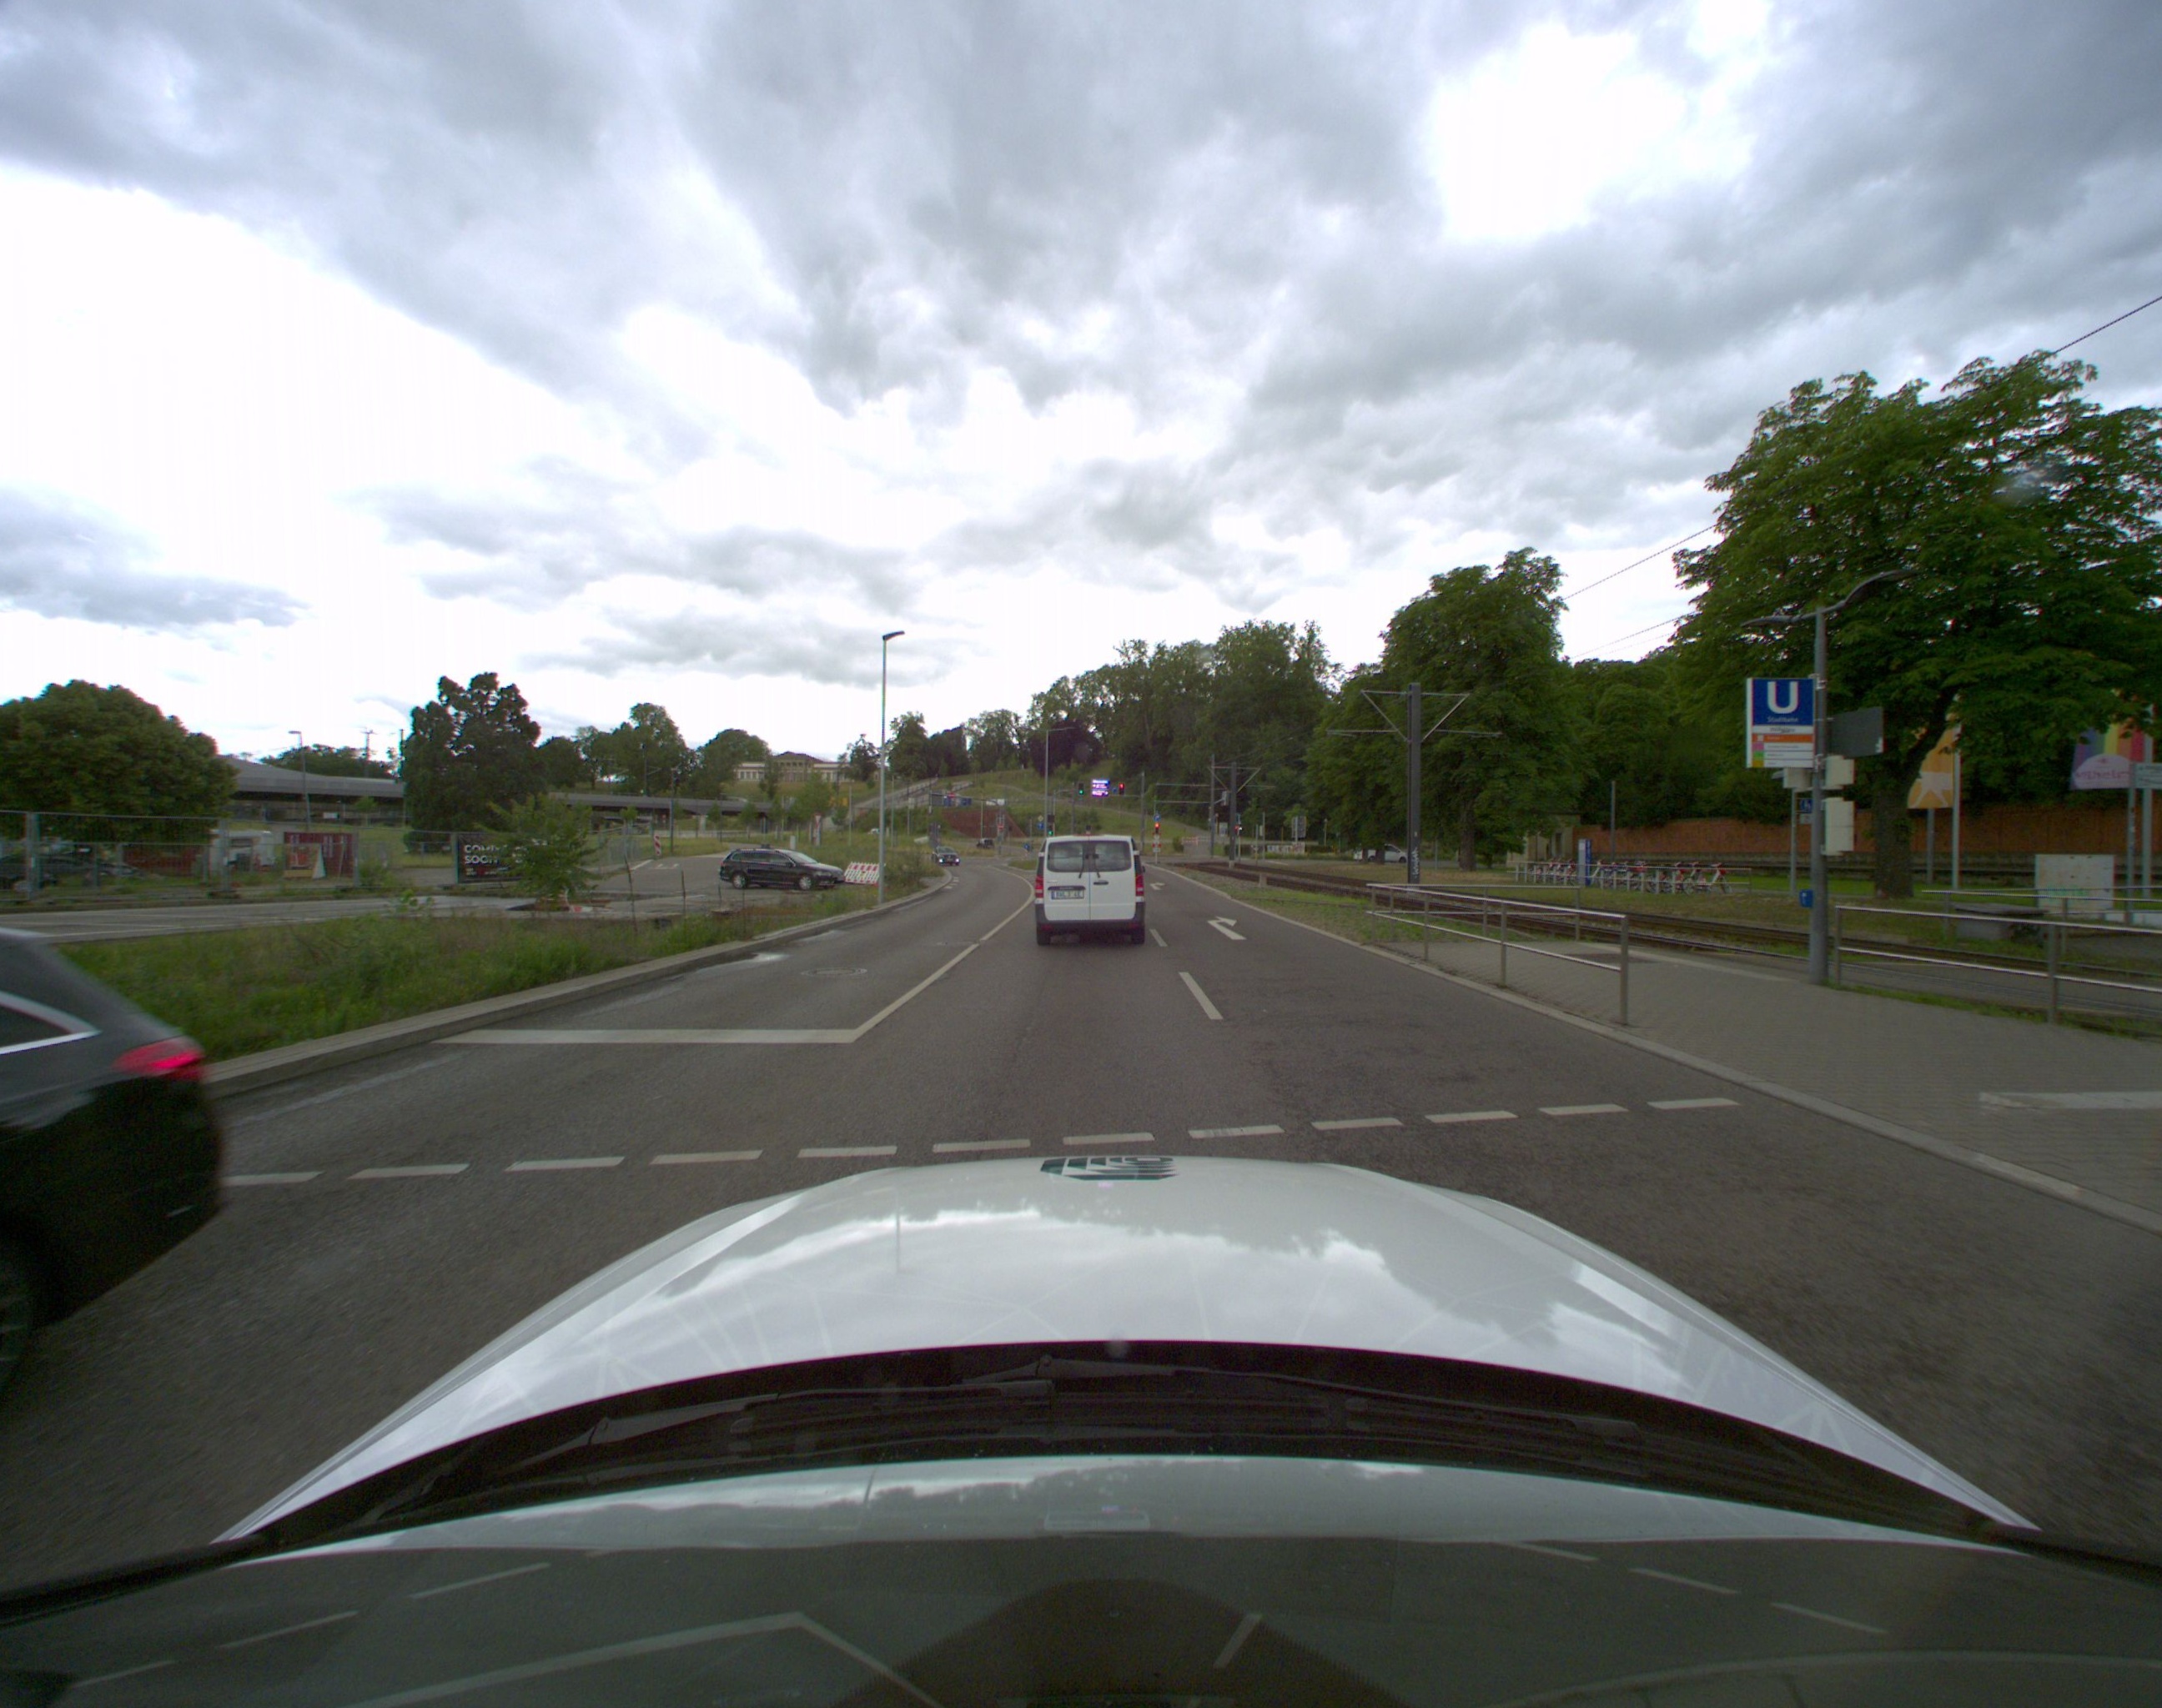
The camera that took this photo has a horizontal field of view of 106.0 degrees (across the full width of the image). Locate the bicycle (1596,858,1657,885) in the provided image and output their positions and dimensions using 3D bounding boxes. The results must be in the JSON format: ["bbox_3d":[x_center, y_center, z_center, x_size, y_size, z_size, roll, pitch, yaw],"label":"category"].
[{"bbox_3d":[20.136,0.649,30.073,1.905,0.975,0.531,0,0,1],"label":"bicycle"}]

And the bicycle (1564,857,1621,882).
[{"bbox_3d":[20.281,0.593,32.309,1.905,0.975,0.531,0,0,1],"label":"bicycle"}]

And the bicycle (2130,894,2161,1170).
[{"bbox_3d":[5.274,0.768,3.673,1.692,1.074,0.613,0,2,-39],"label":"bicycle"}]

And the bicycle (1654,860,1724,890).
[{"bbox_3d":[20.125,0.703,26.962,1.905,0.975,0.531,0,0,1],"label":"bicycle"}]

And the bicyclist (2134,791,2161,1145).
[{"bbox_3d":[5.277,0.513,3.663,0.810,1.572,0.611,0,1,-38],"label":"bicyclist"}]

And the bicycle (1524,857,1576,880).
[{"bbox_3d":[20.058,0.608,34.836,1.905,0.975,0.531,0,0,1],"label":"bicycle"}]

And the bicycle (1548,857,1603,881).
[{"bbox_3d":[20.109,0.595,33.126,1.905,0.975,0.531,0,0,1],"label":"bicycle"}]

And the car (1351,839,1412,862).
[{"bbox_3d":[28.972,-0.322,78.535,5.131,2.013,2.202,2,0,-8],"label":"car"}]

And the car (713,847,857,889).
[{"bbox_3d":[-11.084,0.507,30.593,4.679,1.477,2.006,0,1,11],"label":"car"}]

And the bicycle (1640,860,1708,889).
[{"bbox_3d":[20.091,0.702,27.610,1.905,0.975,0.531,0,0,1],"label":"bicycle"}]

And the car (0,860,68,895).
[{"bbox_3d":[-41.885,0.920,31.001,1.781,1.291,3.946,0,0,32],"label":"car"}]

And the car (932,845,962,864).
[{"bbox_3d":[-11.013,0.029,66.773,1.882,1.477,3.978,-1,1,-17],"label":"car"}]

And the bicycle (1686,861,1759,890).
[{"bbox_3d":[20.354,0.673,25.846,1.905,0.895,0.531,0,0,1],"label":"bicycle"}]

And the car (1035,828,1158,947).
[{"bbox_3d":[0.152,0.531,15.296,1.954,1.903,4.457,0,0,-3],"label":"car"}]

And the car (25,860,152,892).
[{"bbox_3d":[-43.940,0.949,36.141,1.582,1.291,3.530,0,0,40],"label":"car"}]

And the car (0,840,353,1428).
[{"bbox_3d":[-3.697,0.729,0.912,1.724,1.529,4.445,-1,0,1],"label":"car"}]

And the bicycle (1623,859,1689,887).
[{"bbox_3d":[20.147,0.655,28.550,1.905,0.975,0.531,0,0,1],"label":"bicycle"}]

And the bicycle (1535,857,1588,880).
[{"bbox_3d":[19.957,0.601,33.856,1.905,0.975,0.531,0,0,1],"label":"bicycle"}]

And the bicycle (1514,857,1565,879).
[{"bbox_3d":[20.124,0.613,35.761,1.905,0.975,0.531,0,0,1],"label":"bicycle"}]

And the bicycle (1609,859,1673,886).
[{"bbox_3d":[20.131,0.659,29.291,1.905,0.975,0.531,0,0,1],"label":"bicycle"}]

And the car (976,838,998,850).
[{"bbox_3d":[-13.264,-1.477,114.745,1.946,1.627,3.969,1,0,-24],"label":"car"}]
